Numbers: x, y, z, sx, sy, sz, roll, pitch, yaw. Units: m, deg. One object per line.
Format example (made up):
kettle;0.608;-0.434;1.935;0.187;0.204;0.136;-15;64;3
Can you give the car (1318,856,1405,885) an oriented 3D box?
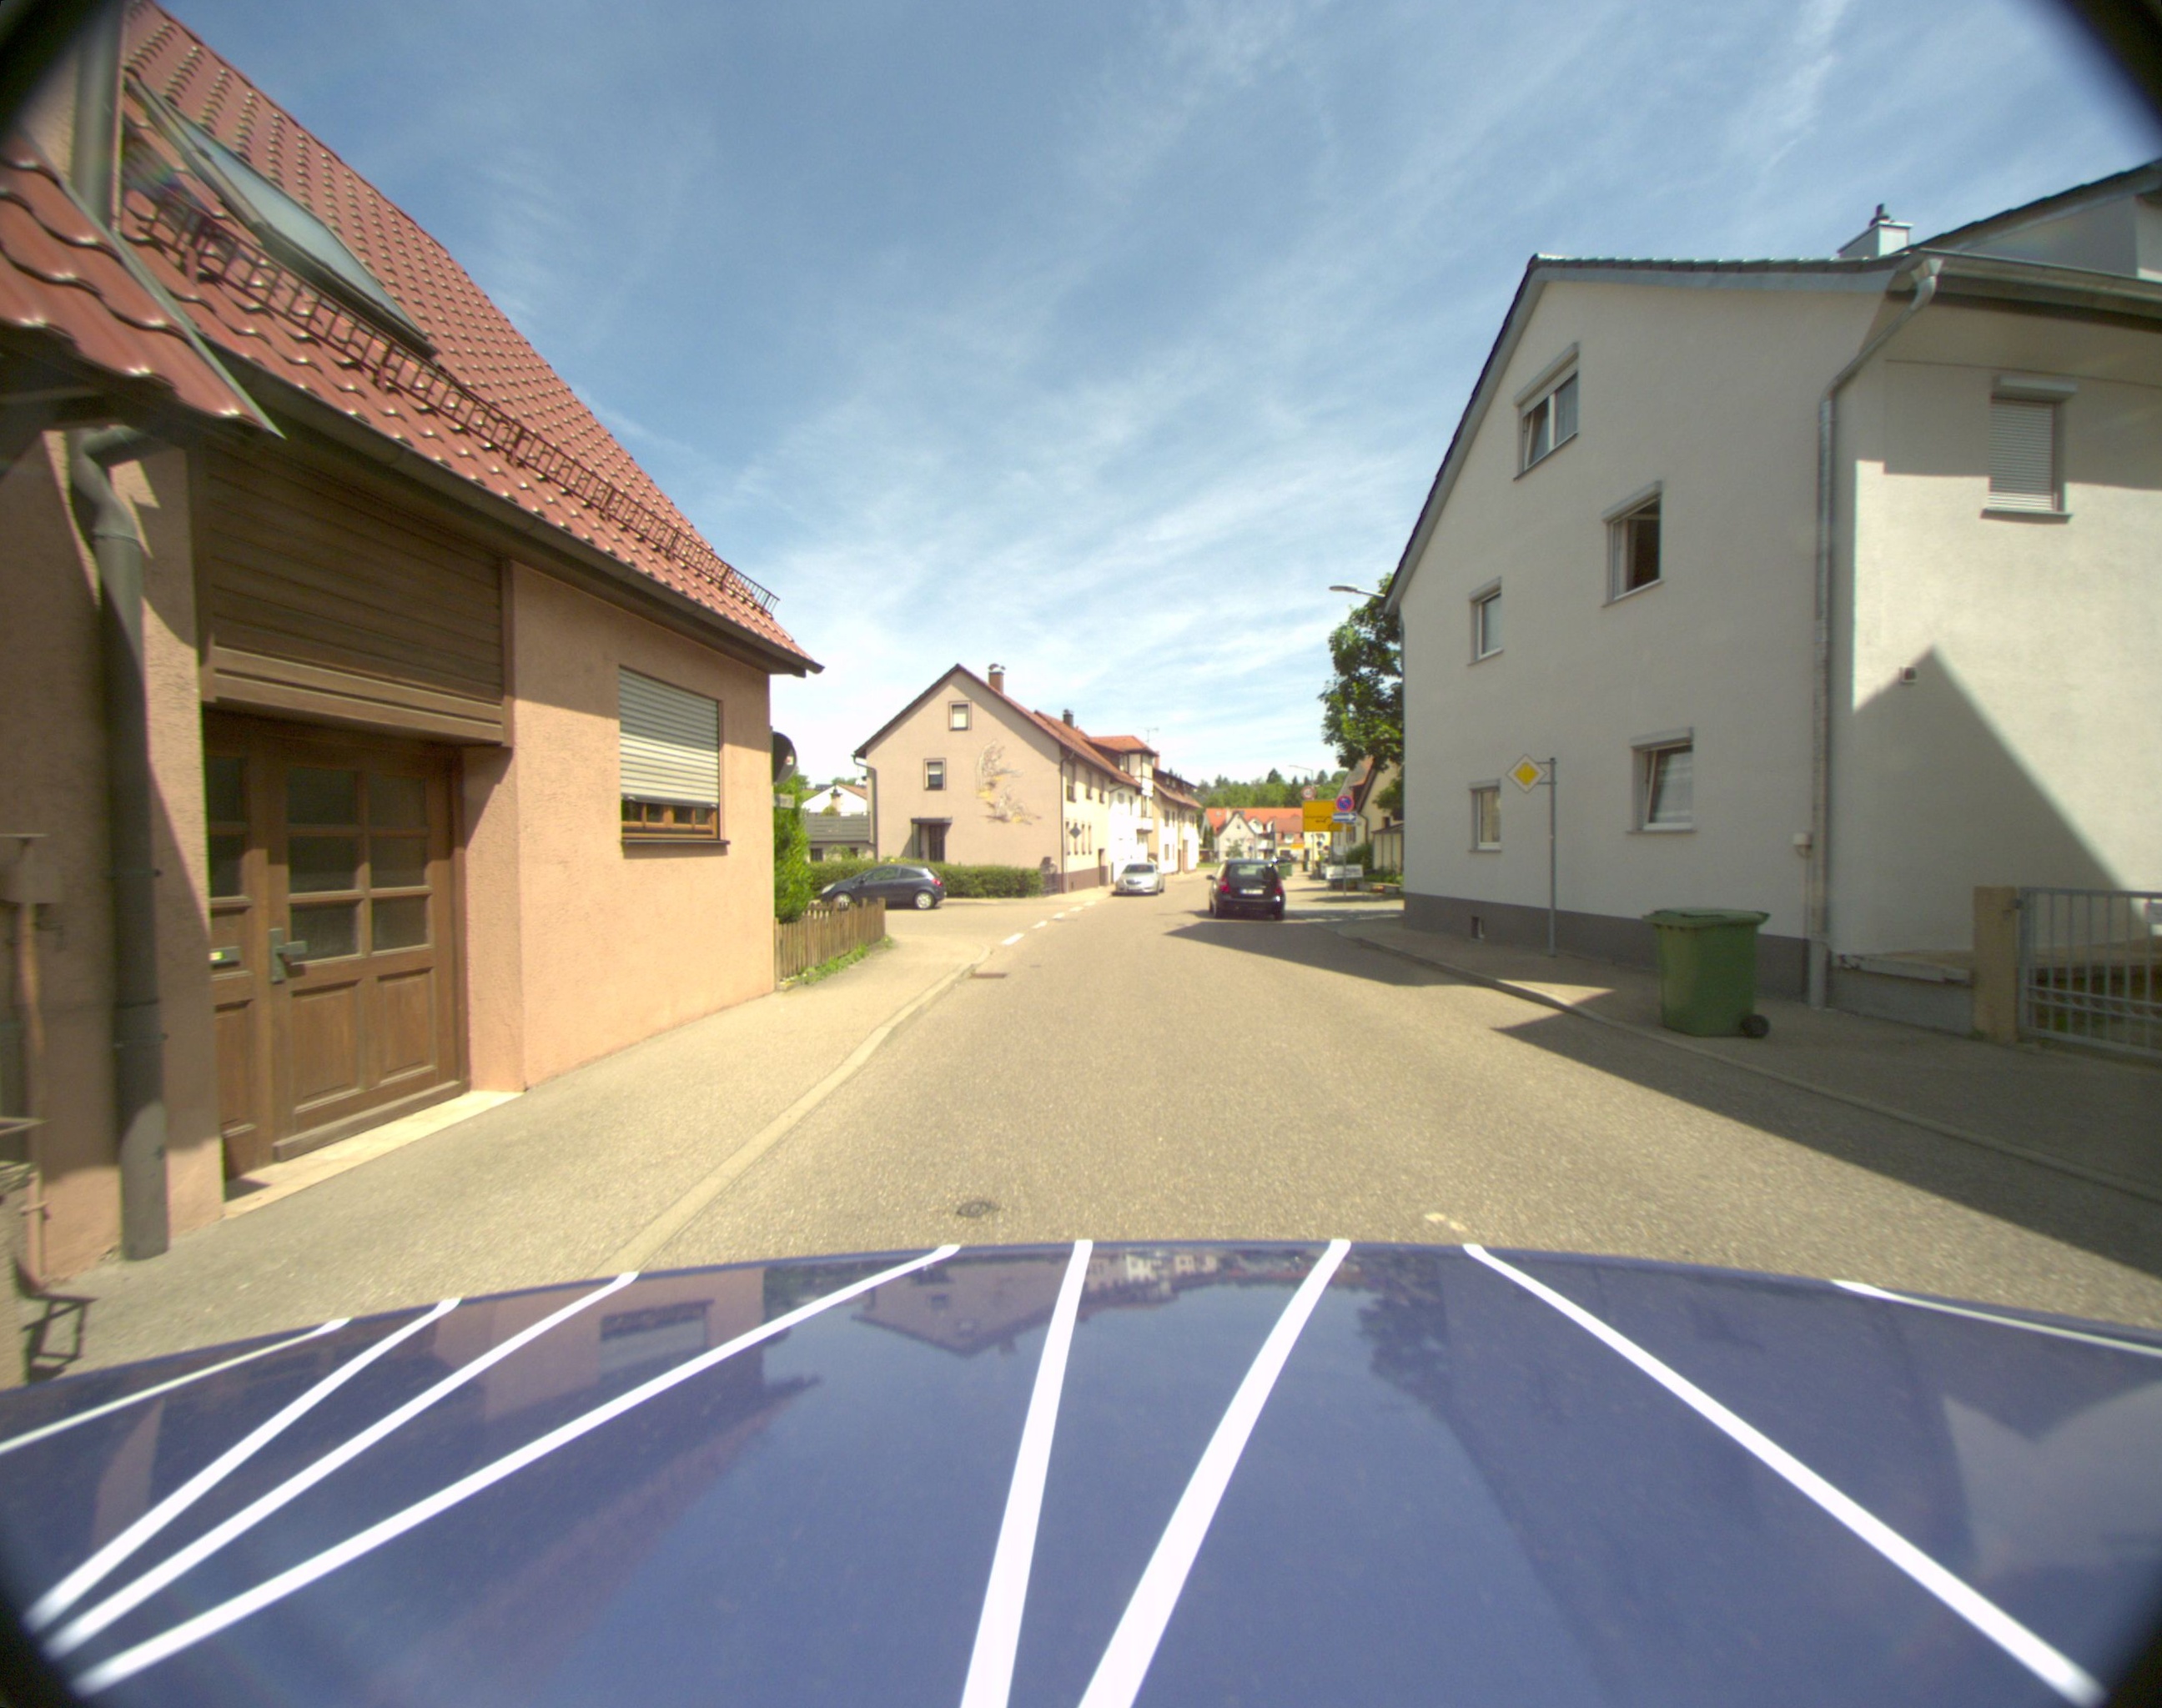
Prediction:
car;16.484;0.952;44.872;4.411;1.613;2.000;-1;1;3

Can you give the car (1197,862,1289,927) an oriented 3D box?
car;4.275;1.014;20.642;1.804;1.546;4.071;1;0;3

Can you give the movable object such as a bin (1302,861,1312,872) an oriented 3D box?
movable object such as a bin;23.160;1.284;77.880;0.809;1.039;0.828;-1;0;26

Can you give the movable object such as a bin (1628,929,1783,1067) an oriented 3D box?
movable object such as a bin;5.289;1.198;6.479;0.755;1.054;0.680;-1;0;3

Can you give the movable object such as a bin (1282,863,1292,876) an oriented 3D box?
movable object such as a bin;16.894;1.296;62.281;0.792;1.051;0.651;0;0;12

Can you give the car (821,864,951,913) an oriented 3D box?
car;-6.242;1.079;24.705;3.815;1.479;1.889;0;0;-5

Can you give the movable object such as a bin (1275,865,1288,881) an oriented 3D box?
movable object such as a bin;13.704;1.293;51.818;0.827;1.071;0.819;-1;0;16

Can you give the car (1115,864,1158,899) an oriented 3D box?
car;2.507;1.191;34.045;1.789;1.433;4.339;-1;0;5
